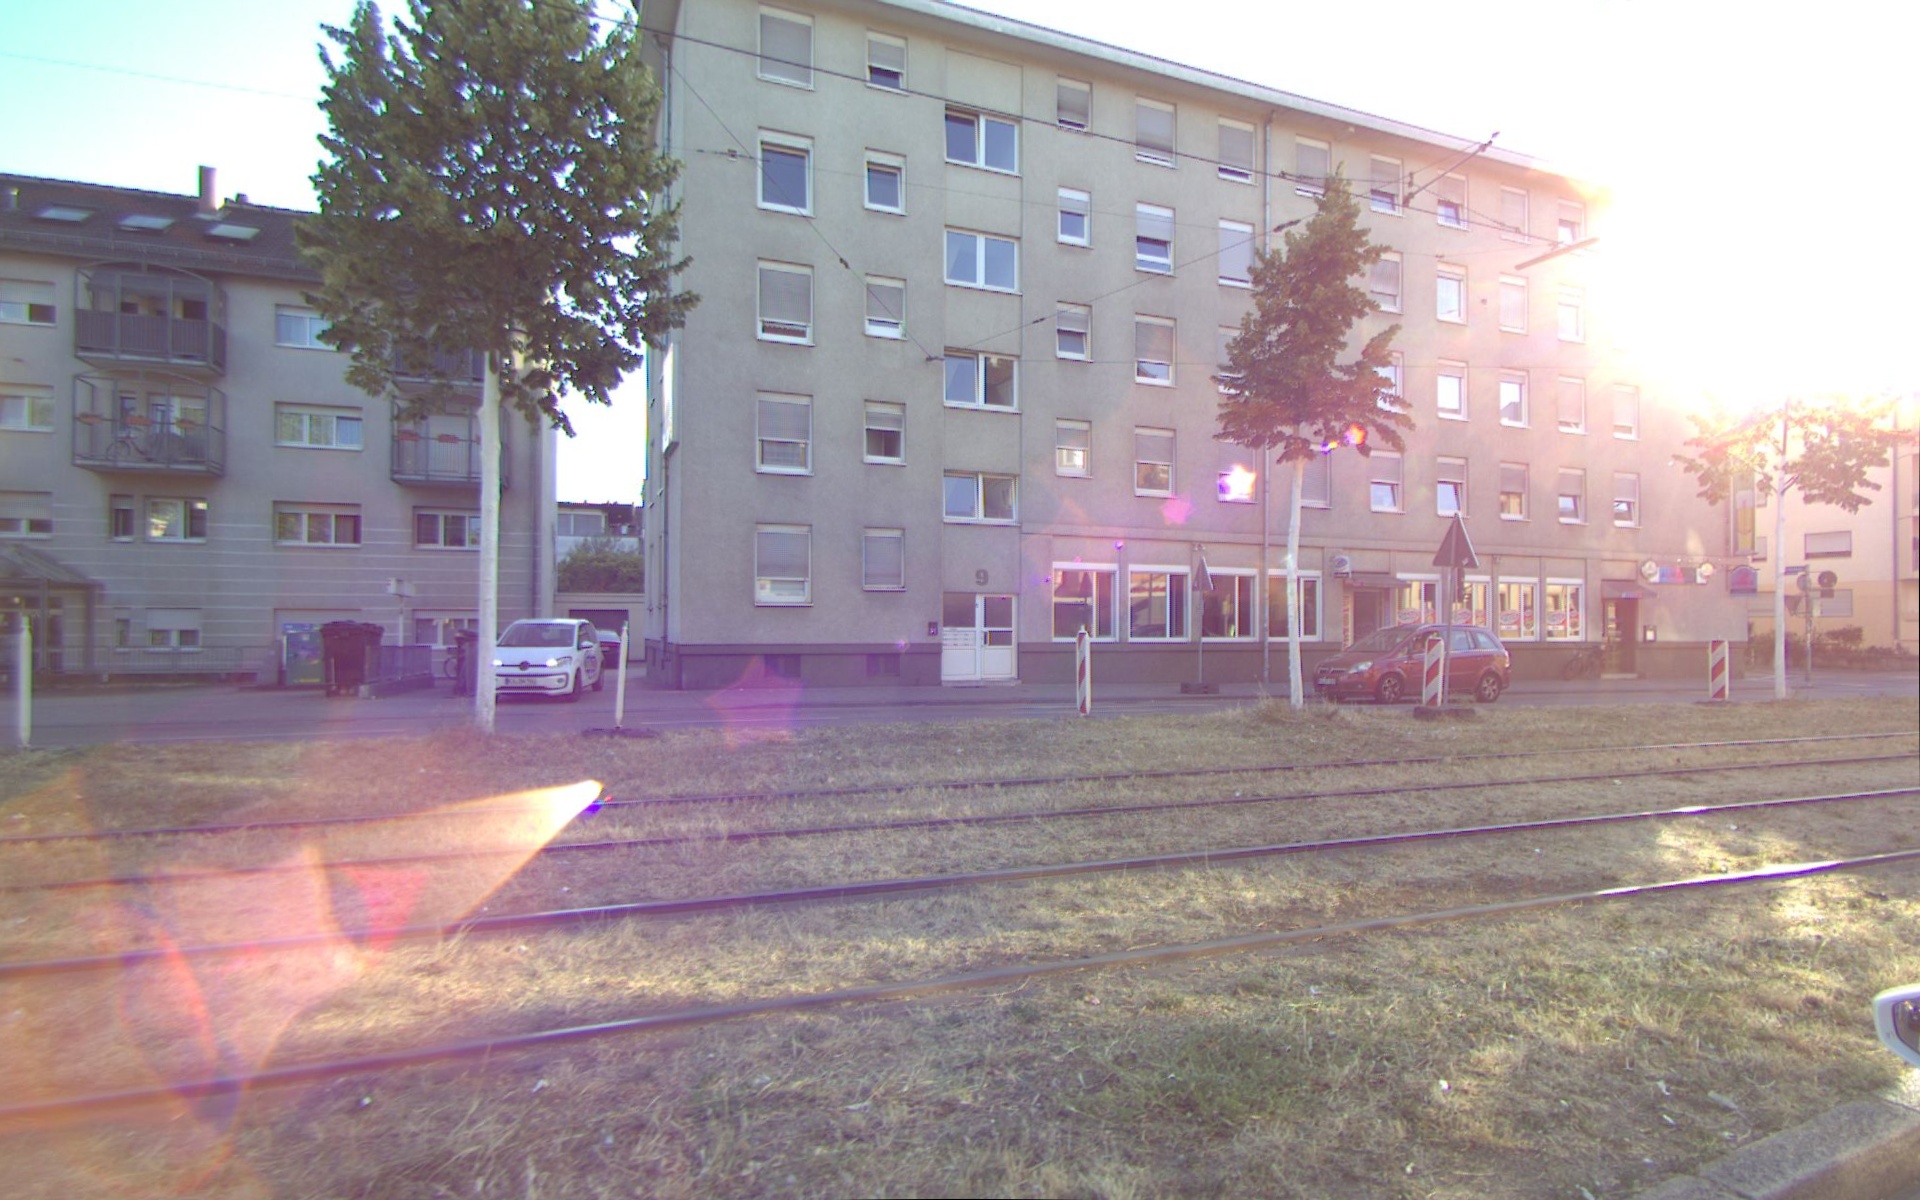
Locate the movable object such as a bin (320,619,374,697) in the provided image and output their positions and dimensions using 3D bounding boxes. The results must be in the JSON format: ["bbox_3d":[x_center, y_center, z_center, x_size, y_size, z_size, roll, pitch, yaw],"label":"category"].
[{"bbox_3d":[-11.336,1.064,18.593,0.738,1.419,0.662,1,-2,-23],"label":"movable object such as a bin"}]

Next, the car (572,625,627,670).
[{"bbox_3d":[-13.473,1.745,37.672,1.789,1.437,3.924,2,0,-18],"label":"car"}]

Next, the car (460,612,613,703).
[{"bbox_3d":[-7.833,1.021,18.960,1.785,1.532,3.823,1,-1,-9],"label":"car"}]

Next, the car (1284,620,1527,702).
[{"bbox_3d":[9.359,1.279,21.109,4.862,1.580,1.809,2,-3,-22],"label":"car"}]

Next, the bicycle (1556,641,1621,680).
[{"bbox_3d":[18.762,1.805,29.983,1.752,1.129,0.745,1,-2,-22],"label":"bicycle"}]
